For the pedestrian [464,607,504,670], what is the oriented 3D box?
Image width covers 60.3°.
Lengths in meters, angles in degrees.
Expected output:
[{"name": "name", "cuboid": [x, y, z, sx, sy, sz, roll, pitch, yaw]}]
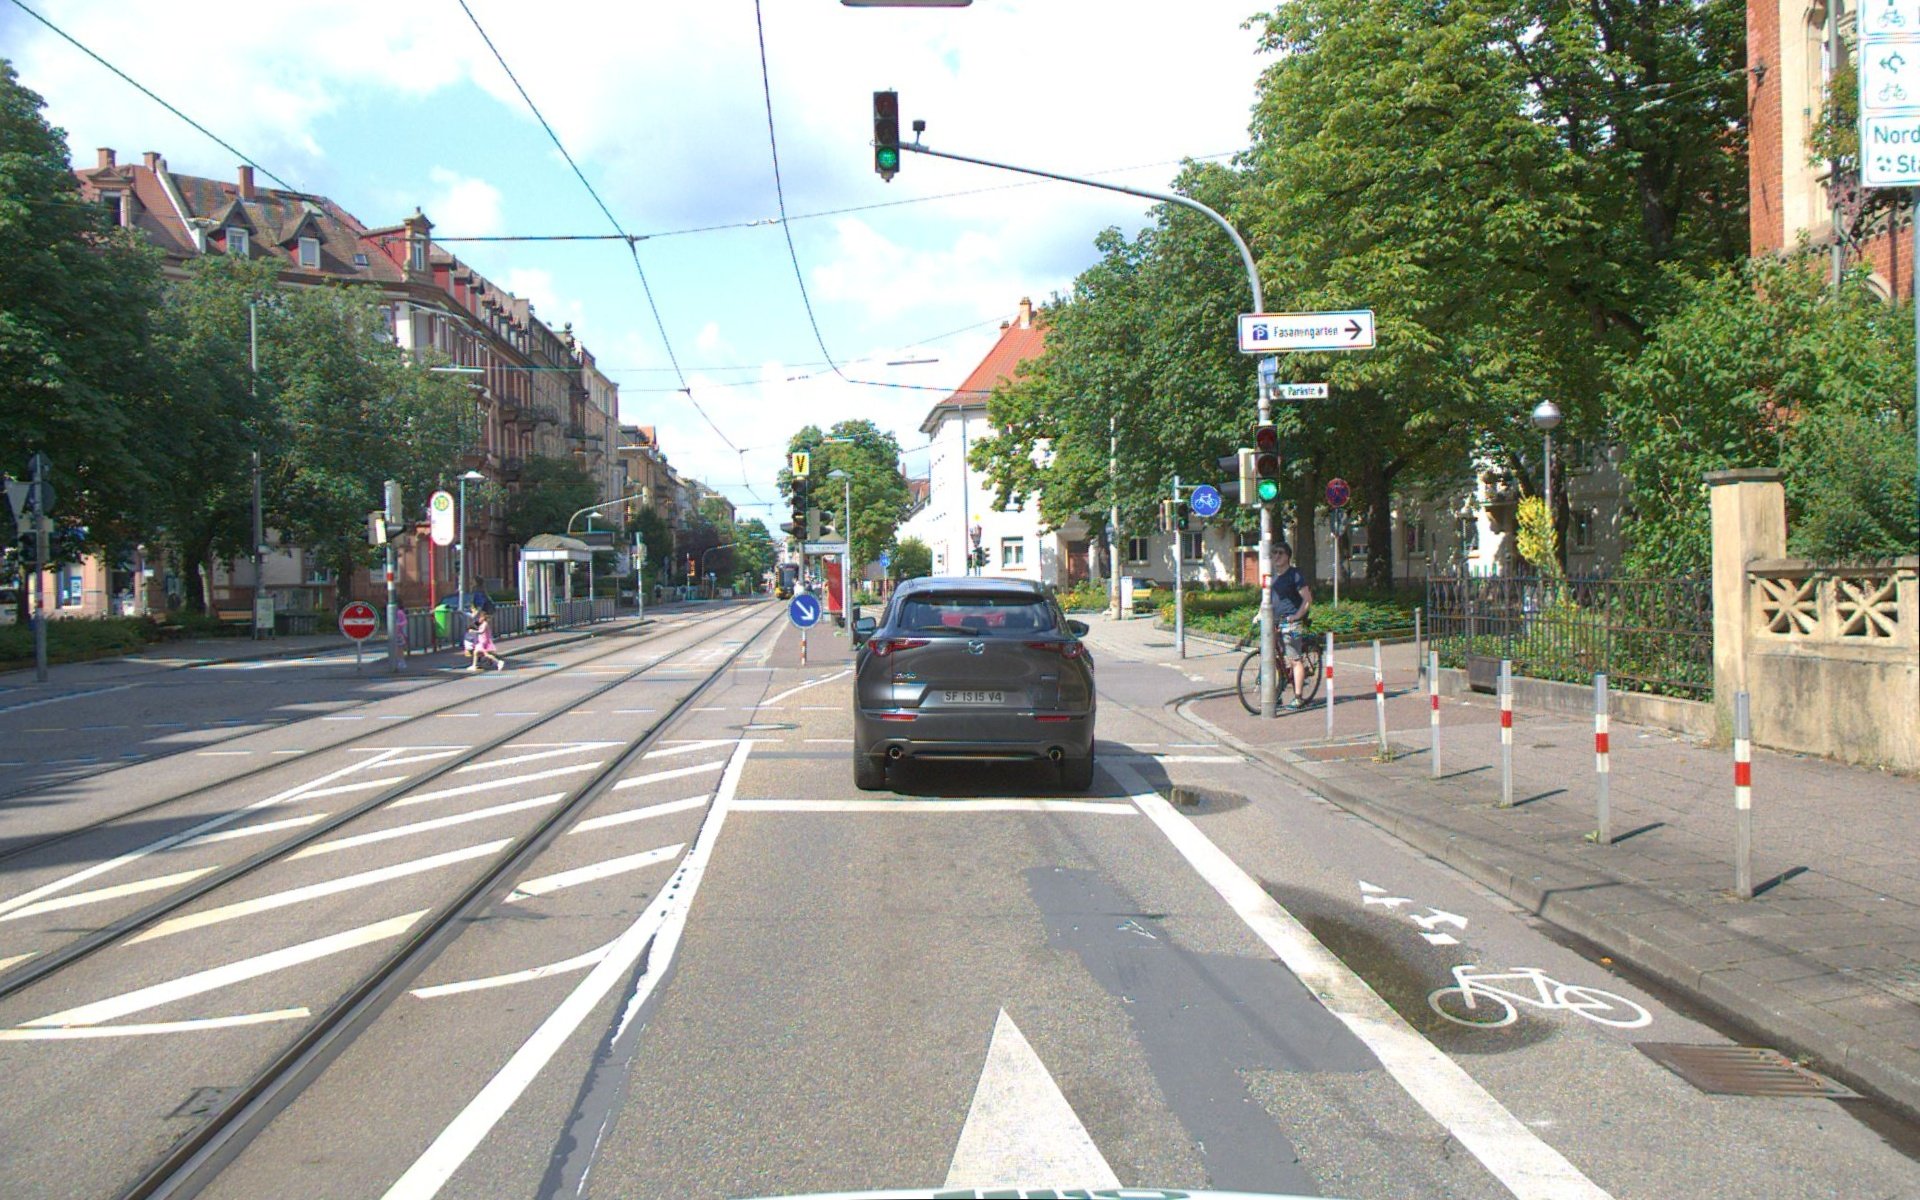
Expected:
[{"name": "pedestrian", "cuboid": [-8.750, 0.699, 30.400, 0.629, 1.133, 0.443, -1, 0, -10]}]

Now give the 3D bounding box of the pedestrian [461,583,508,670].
[{"name": "pedestrian", "cuboid": [-8.899, 0.484, 30.966, 0.714, 1.593, 0.797, -1, 0, -10]}]

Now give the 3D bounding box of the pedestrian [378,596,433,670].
[{"name": "pedestrian", "cuboid": [-10.524, 0.614, 31.424, 0.810, 1.326, 0.716, -3, 1, -10]}]

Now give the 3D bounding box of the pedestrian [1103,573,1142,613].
[{"name": "pedestrian", "cuboid": [5.635, -0.250, 57.464, 1.170, 1.291, 0.556, -4, 1, -10]}]

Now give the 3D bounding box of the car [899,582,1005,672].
[{"name": "car", "cuboid": [-0.200, 0.427, 29.274, 1.739, 1.489, 3.840, 0, 0, -3]}]

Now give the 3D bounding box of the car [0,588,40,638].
[{"name": "car", "cuboid": [-40.280, 0.551, 68.324, 3.852, 2.023, 1.857, -1, 0, 19]}]

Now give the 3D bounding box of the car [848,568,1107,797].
[{"name": "car", "cuboid": [0.095, 0.560, 13.304, 1.746, 1.540, 3.999, 1, 0, -1]}]

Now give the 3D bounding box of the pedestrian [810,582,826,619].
[{"name": "pedestrian", "cuboid": [-6.070, 0.010, 70.838, 0.654, 1.573, 0.580, -1, 0, -6]}]

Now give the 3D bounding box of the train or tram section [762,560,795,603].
[{"name": "train or tram section", "cuboid": [-18.428, -1.755, 168.573, 2.939, 4.053, 13.795, -1, 0, -5]}]

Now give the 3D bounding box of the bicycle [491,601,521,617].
[{"name": "bicycle", "cuboid": [-23.427, 0.476, 85.427, 0.378, 0.760, 1.707, -1, 1, 31]}]

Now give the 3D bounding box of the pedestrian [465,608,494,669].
[{"name": "pedestrian", "cuboid": [-9.200, 0.727, 31.665, 0.429, 1.127, 0.422, -3, 1, -10]}]

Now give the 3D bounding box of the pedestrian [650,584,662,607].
[{"name": "pedestrian", "cuboid": [-22.602, -0.356, 123.015, 0.772, 1.718, 0.731, -1, 0, -3]}]

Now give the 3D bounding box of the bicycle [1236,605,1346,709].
[{"name": "bicycle", "cuboid": [3.754, 0.622, 18.673, 0.382, 1.053, 1.836, -1, 1, 39]}]

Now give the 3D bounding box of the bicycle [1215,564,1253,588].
[{"name": "bicycle", "cuboid": [12.771, -1.126, 77.171, 0.562, 1.037, 1.726, -4, 2, -42]}]

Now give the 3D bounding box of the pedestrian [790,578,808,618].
[{"name": "pedestrian", "cuboid": [-6.986, -0.071, 71.807, 0.756, 1.704, 0.667, -1, 0, -6]}]

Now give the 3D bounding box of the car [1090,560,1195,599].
[{"name": "car", "cuboid": [7.773, -0.875, 70.543, 4.090, 1.536, 1.844, -1, 2, 37]}]

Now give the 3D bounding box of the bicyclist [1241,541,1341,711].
[{"name": "bicyclist", "cuboid": [3.708, 0.281, 18.578, 0.724, 1.851, 0.813, -2, 0, -27]}]
